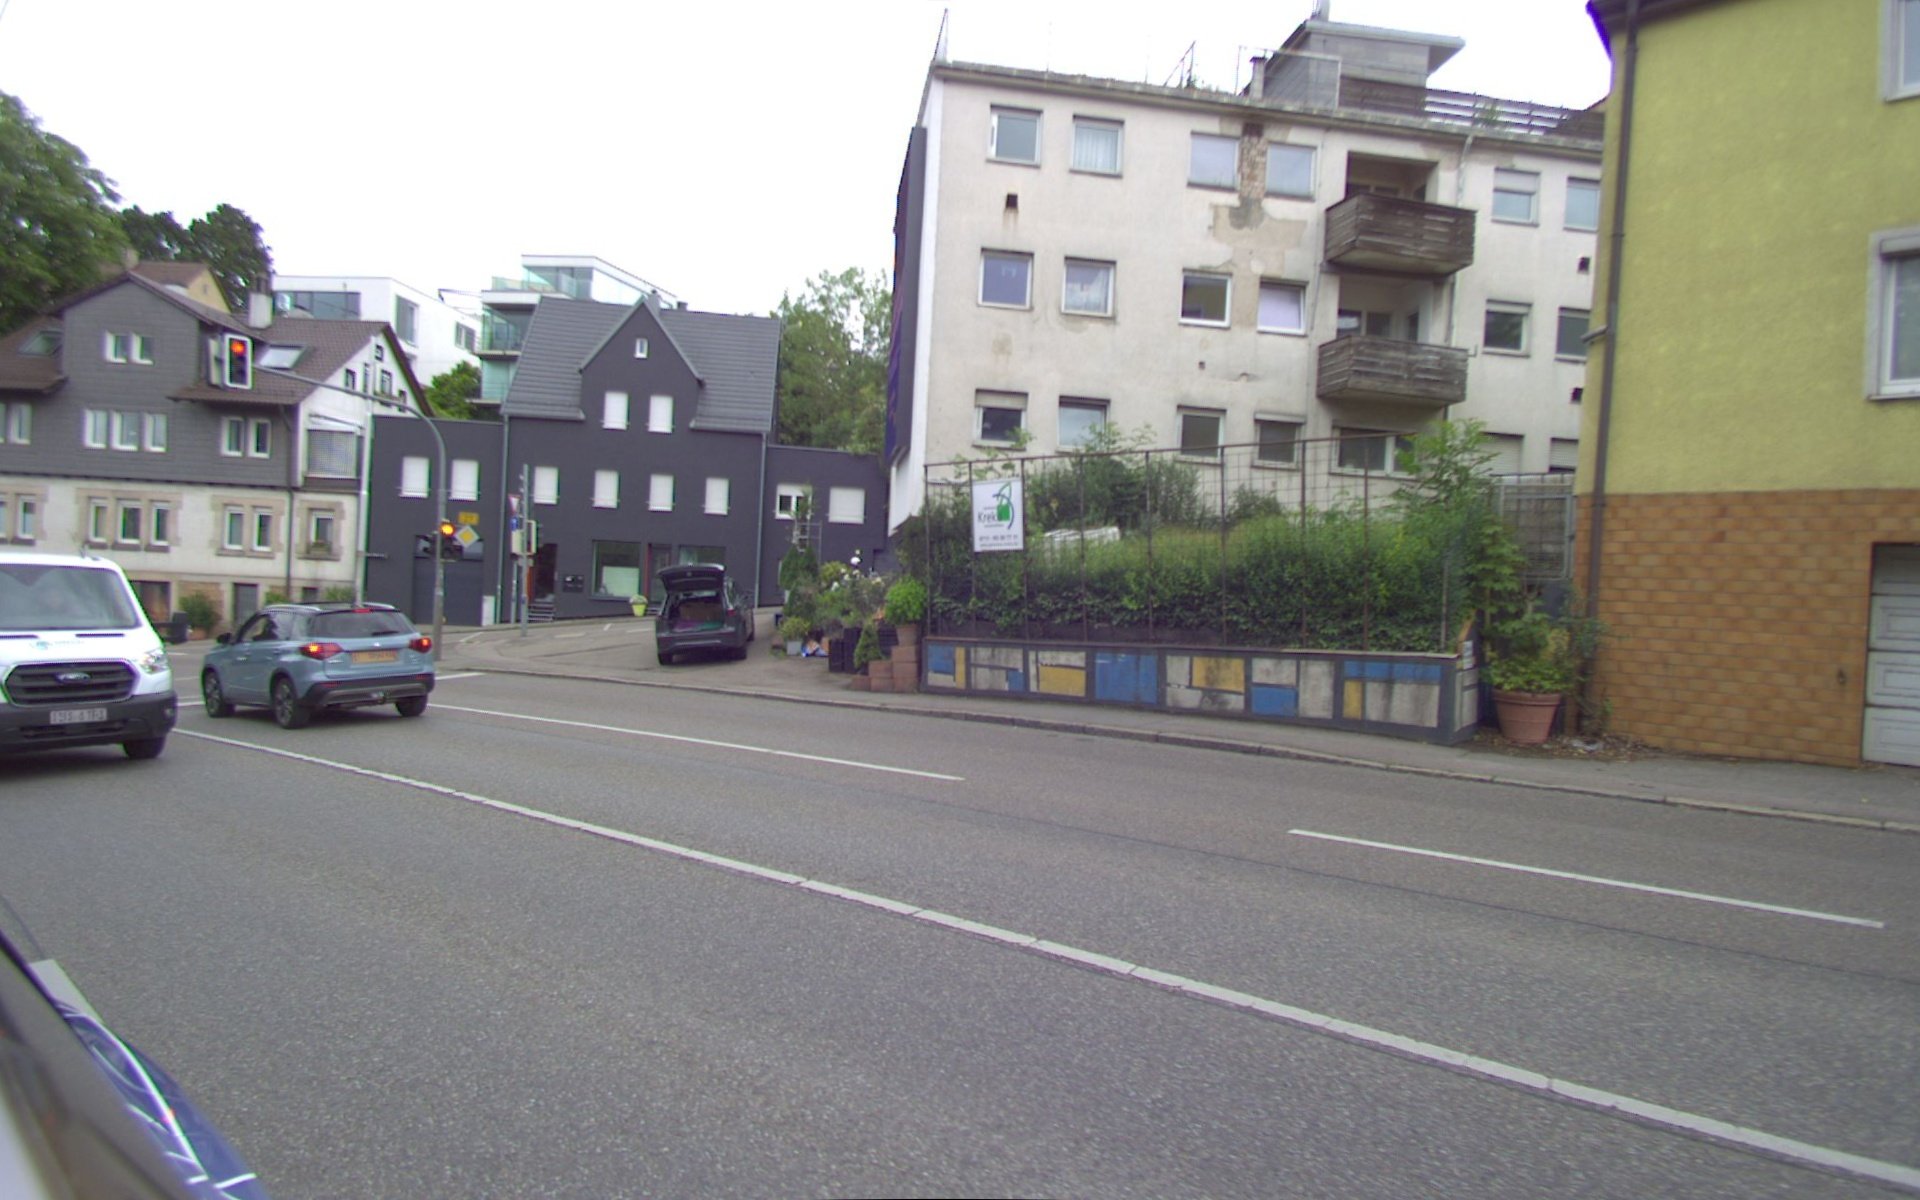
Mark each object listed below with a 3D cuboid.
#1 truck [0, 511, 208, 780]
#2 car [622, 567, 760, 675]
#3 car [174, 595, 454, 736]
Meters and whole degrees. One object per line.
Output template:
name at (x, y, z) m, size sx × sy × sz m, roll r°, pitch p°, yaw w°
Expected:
truck at (-10.774, 0.428, 10.890) m, size 6.308 × 2.339 × 2.060 m, roll -1°, pitch -1°, yaw 31°
car at (-5.733, 0.330, 22.222) m, size 2.282 × 1.724 × 4.714 m, roll -4°, pitch 6°, yaw -8°
car at (-9.209, 0.814, 14.320) m, size 4.338 × 1.708 × 1.879 m, roll -1°, pitch 0°, yaw 36°
